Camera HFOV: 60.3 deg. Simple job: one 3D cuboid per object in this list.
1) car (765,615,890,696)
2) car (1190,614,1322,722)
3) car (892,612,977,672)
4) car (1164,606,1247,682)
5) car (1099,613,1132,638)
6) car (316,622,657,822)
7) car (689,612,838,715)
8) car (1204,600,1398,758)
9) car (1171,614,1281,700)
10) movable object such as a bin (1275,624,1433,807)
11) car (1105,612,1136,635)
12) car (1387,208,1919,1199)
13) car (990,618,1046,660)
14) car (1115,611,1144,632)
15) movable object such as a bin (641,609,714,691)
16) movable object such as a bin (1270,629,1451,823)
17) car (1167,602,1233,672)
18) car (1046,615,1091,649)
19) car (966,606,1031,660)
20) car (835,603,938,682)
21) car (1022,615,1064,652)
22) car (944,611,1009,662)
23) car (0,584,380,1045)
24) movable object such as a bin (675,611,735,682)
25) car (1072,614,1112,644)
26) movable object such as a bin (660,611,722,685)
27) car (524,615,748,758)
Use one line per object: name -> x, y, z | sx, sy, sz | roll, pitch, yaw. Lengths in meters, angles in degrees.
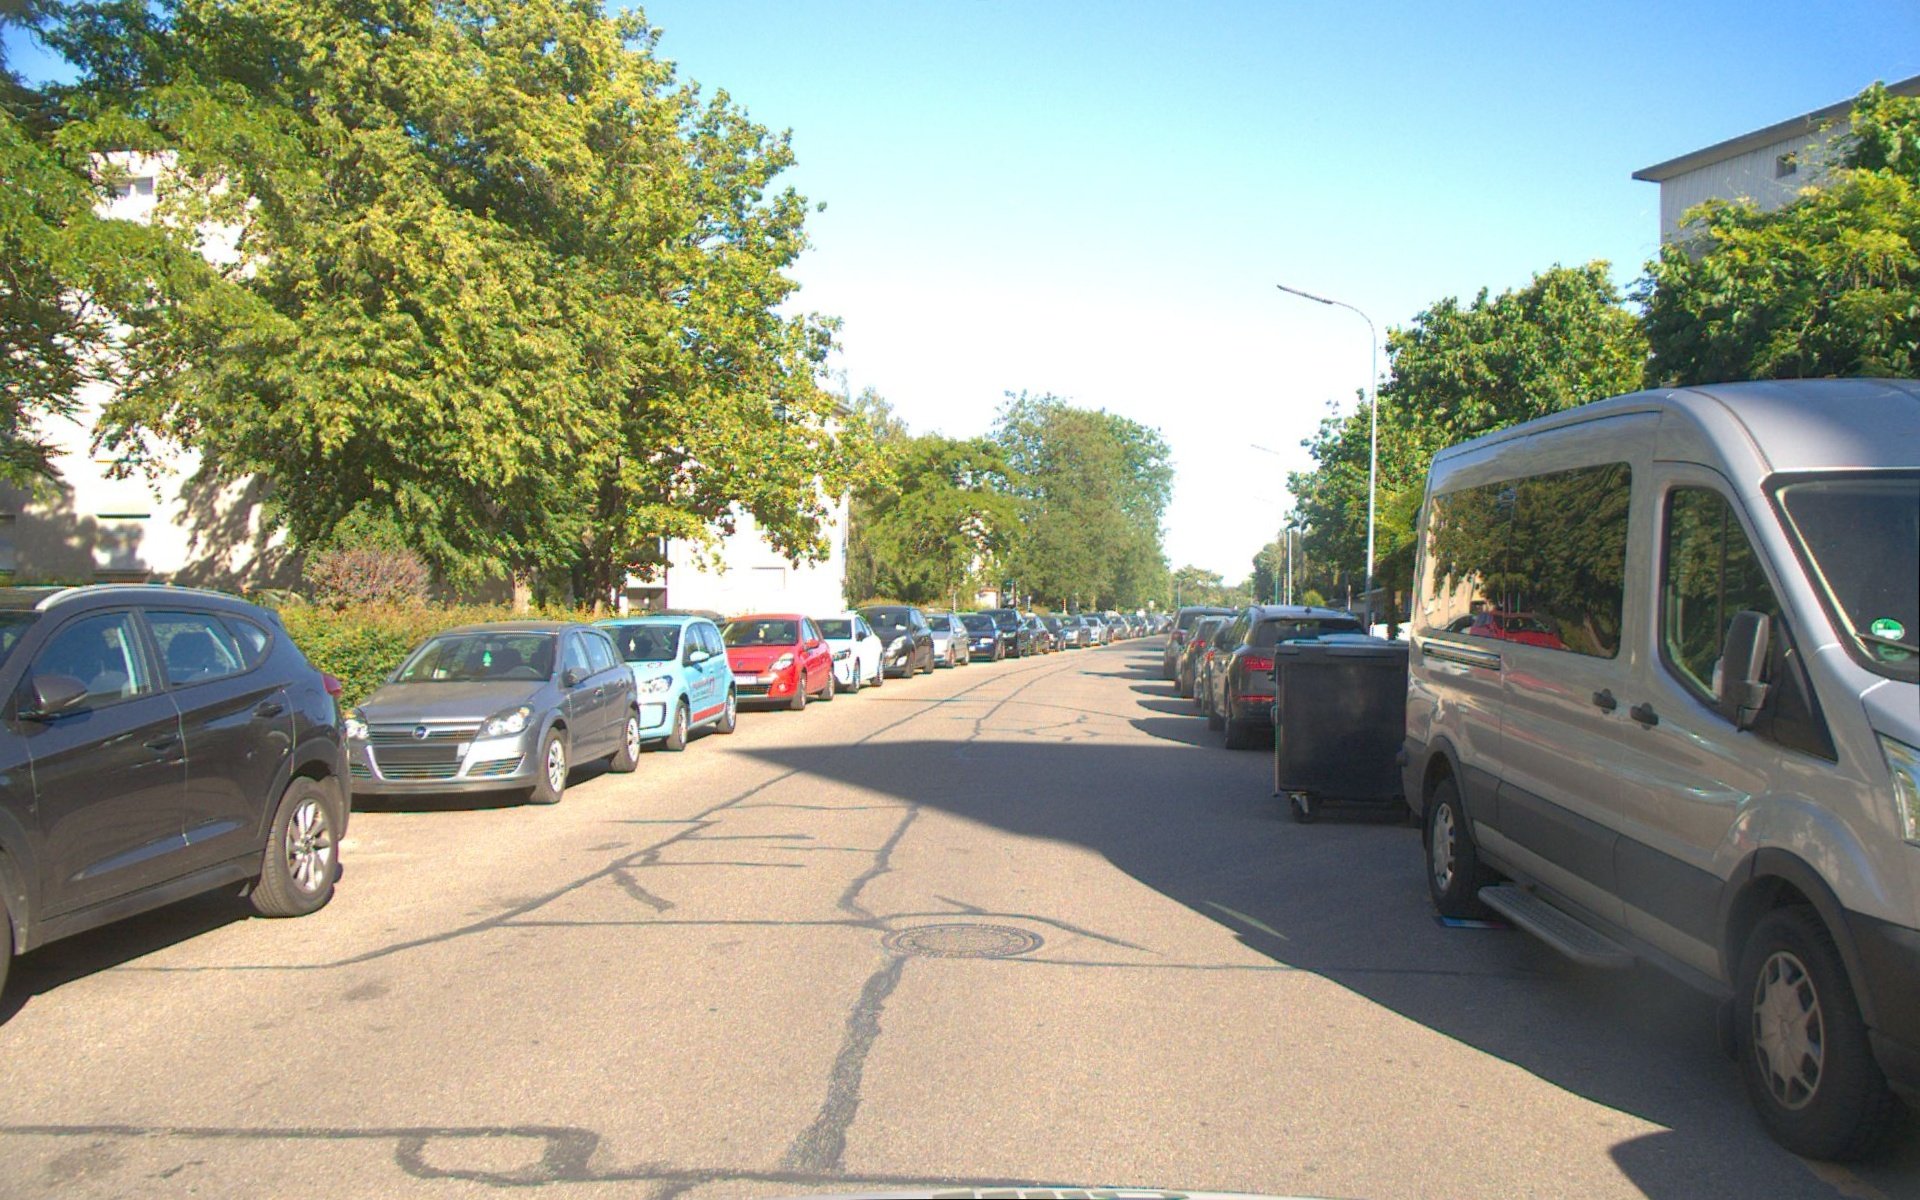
car -> -2.508, 1.036, 32.080 | 1.635, 1.446, 3.904 | -1, -1, 7
car -> 4.608, 1.016, 26.208 | 1.649, 1.513, 3.826 | 2, 0, 5
car -> -0.656, 1.101, 45.149 | 1.625, 1.512, 4.056 | -2, -1, 9
car -> 5.675, 0.983, 38.546 | 1.693, 1.647, 4.236 | 1, 0, 6
car -> 9.234, 1.507, 97.990 | 1.477, 1.406, 3.470 | -2, -1, 13
car -> -3.951, 0.951, 14.502 | 1.635, 1.462, 4.001 | -1, -1, 3
car -> -3.077, 0.960, 26.547 | 1.635, 1.500, 3.680 | -1, -1, 5
car -> 4.112, 0.875, 20.616 | 1.772, 1.693, 4.464 | 2, 0, 4
car -> 5.006, 1.032, 31.546 | 1.646, 1.482, 4.293 | 2, 0, 4
movable object such as a bin -> 3.216, 0.915, 13.641 | 1.202, 1.421, 1.171 | 0, -1, 10
car -> 10.078, 1.436, 103.655 | 1.477, 1.352, 3.470 | -2, -1, 13
car -> 3.468, 0.331, 6.690 | 2.061, 2.530, 5.856 | 1, 0, 1
car -> 2.195, 1.436, 61.528 | 1.625, 1.464, 3.763 | -2, -1, 9
car -> 11.557, 1.430, 112.612 | 1.477, 1.352, 3.470 | -2, -1, 13
movable object such as a bin -> -5.389, 0.936, 31.630 | 1.087, 1.525, 1.409 | 0, 0, 3
movable object such as a bin -> 2.987, 0.926, 12.492 | 1.242, 1.336, 1.123 | -1, 1, 10
car -> 6.311, 0.955, 43.706 | 1.618, 1.728, 4.236 | 1, 0, 8
car -> 5.001, 1.446, 75.944 | 1.477, 1.477, 3.694 | -2, -1, 13
car -> 1.345, 1.091, 56.285 | 1.625, 1.718, 4.052 | -2, -1, 9
car -> -1.659, 0.952, 38.587 | 1.635, 1.696, 4.409 | -1, -1, 7
car -> 3.497, 1.381, 69.325 | 1.359, 1.438, 3.128 | -2, -1, 9
car -> 0.539, 1.102, 50.683 | 1.625, 1.451, 4.051 | -2, -1, 5
car -> -4.206, 0.773, 6.953 | 1.711, 1.646, 4.365 | 0, 0, 4
movable object such as a bin -> -5.334, 0.959, 34.656 | 0.967, 1.443, 1.315 | 0, 0, 5
car -> 6.592, 1.418, 82.142 | 1.477, 1.388, 3.470 | -2, -1, 13
movable object such as a bin -> -5.409, 0.949, 33.299 | 0.967, 1.443, 1.315 | 0, 0, 3
car -> -3.716, 0.946, 19.599 | 1.635, 1.500, 3.680 | -1, -1, 5
